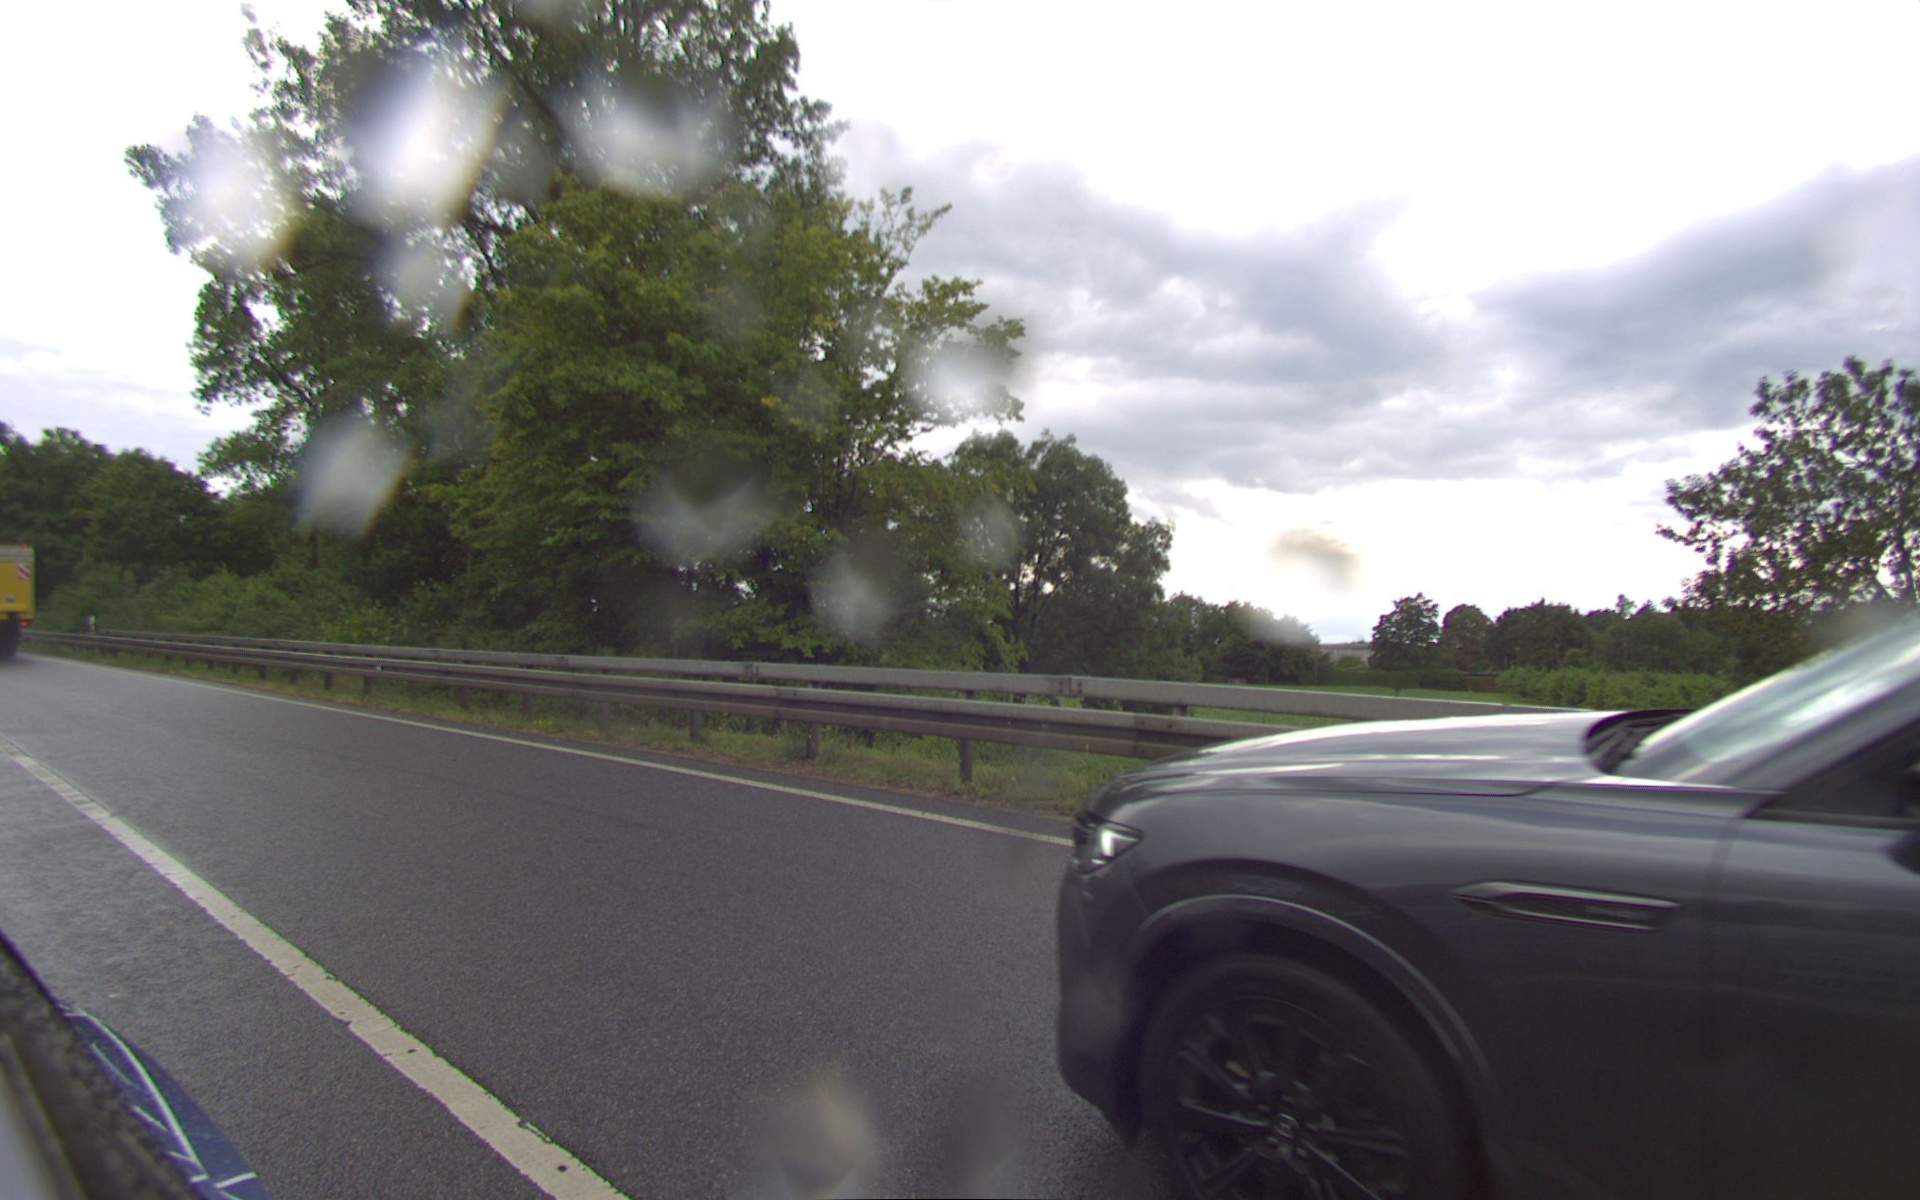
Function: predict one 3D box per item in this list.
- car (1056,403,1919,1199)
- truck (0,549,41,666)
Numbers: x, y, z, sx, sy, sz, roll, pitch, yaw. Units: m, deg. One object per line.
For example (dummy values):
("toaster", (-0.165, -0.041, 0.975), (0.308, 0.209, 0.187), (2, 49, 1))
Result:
("car", (2.487, 0.547, 1.498), (4.523, 1.666, 1.727), (-2, -2, 42))
("truck", (-32.244, 0.192, 32.327), (9.176, 3.454, 2.744), (1, 3, 39))
